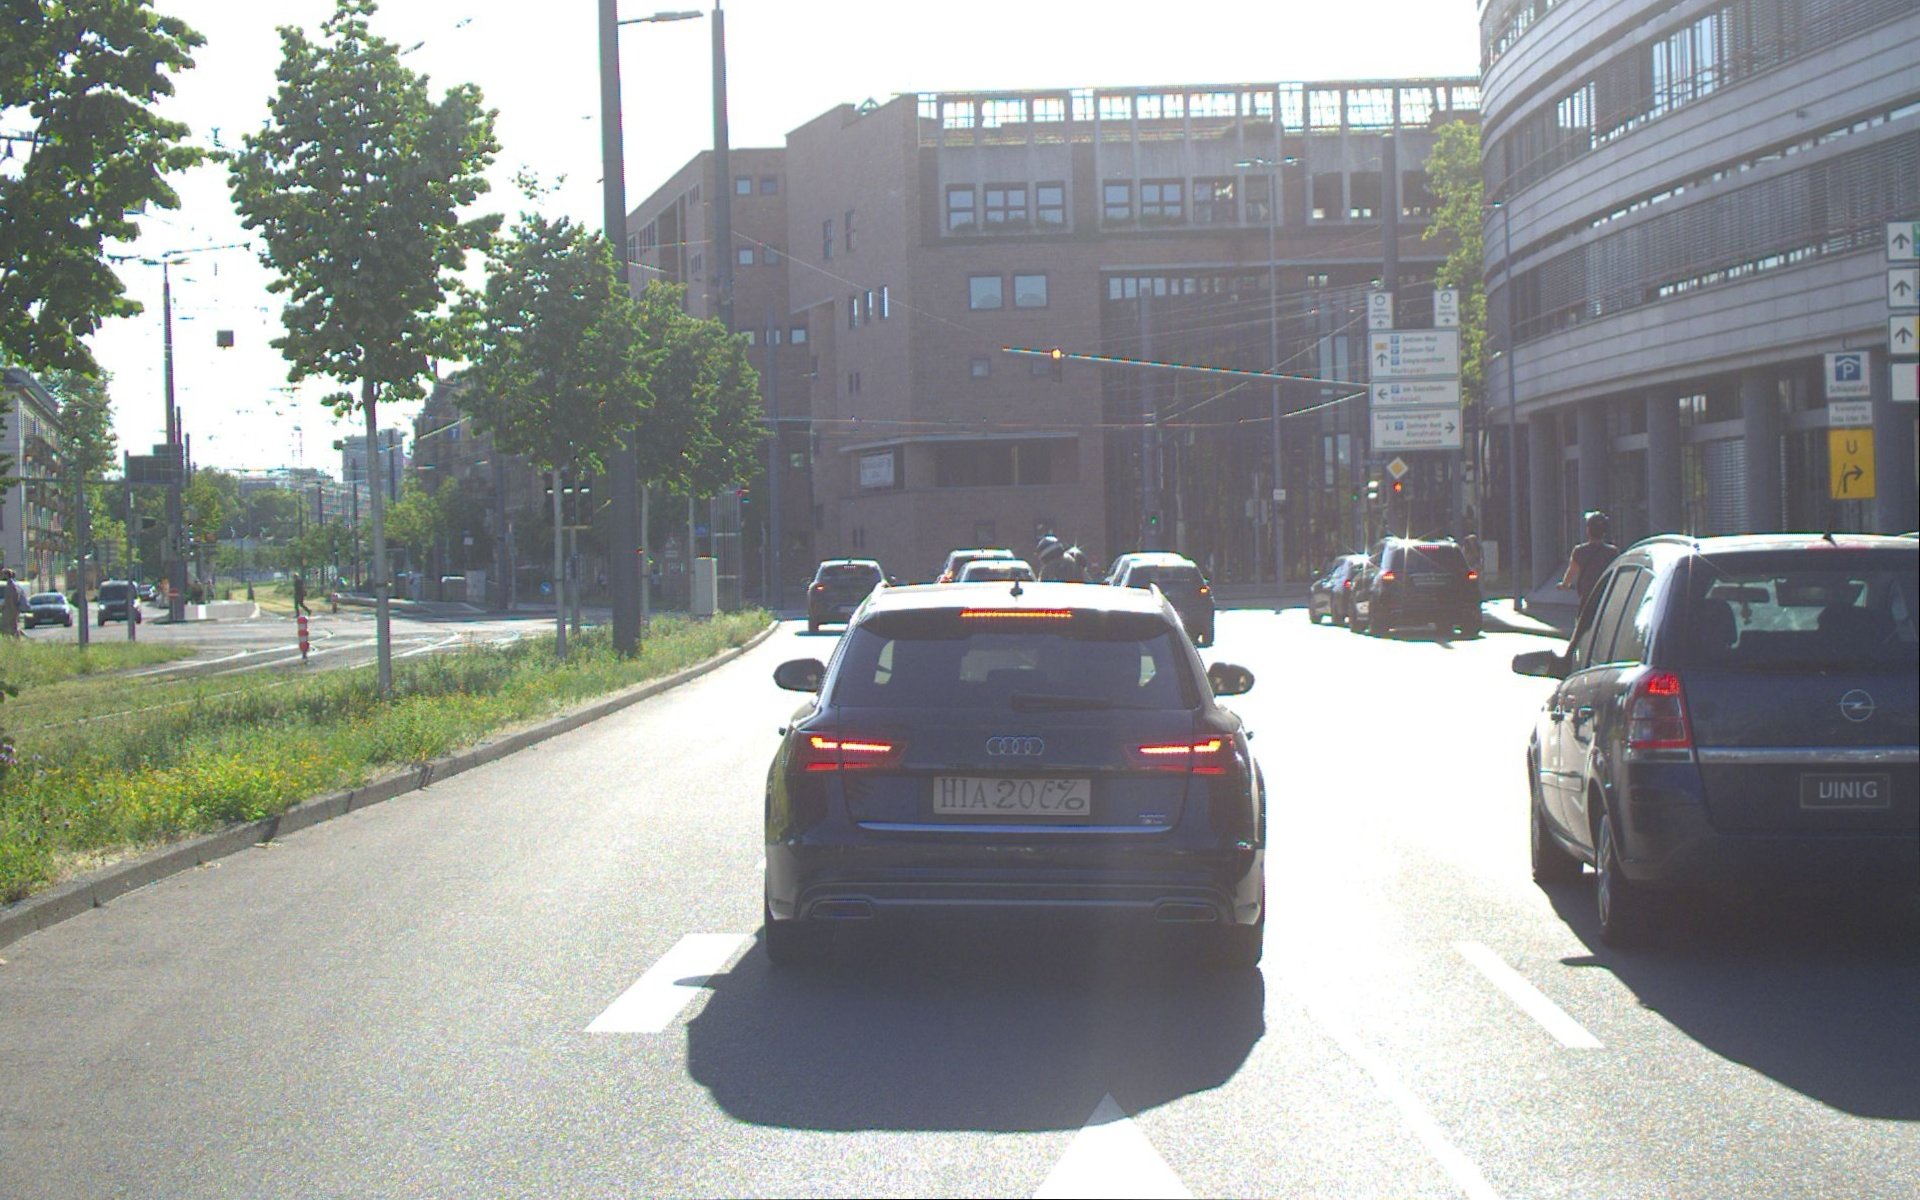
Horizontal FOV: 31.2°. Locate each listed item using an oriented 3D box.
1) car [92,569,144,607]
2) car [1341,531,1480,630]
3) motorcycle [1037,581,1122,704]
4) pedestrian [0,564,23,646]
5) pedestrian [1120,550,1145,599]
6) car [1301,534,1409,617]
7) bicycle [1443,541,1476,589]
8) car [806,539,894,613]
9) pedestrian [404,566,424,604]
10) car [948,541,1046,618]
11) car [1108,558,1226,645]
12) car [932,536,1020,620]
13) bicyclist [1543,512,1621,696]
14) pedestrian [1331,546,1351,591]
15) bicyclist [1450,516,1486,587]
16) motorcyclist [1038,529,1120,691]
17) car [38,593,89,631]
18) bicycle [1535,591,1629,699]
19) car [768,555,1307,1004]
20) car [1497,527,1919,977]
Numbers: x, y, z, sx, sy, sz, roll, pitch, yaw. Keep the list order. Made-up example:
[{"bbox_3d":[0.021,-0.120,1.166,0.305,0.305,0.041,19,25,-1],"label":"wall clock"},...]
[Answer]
[{"bbox_3d":[-34.604,-0.496,141.247,1.744,1.499,3.881,-2,1,-18],"label":"car"},{"bbox_3d":[8.411,-0.387,64.500,1.993,1.744,4.329,-1,1,0],"label":"car"},{"bbox_3d":[1.157,0.397,33.373,0.775,1.111,1.969,-1,1,2],"label":"motorcycle"},{"bbox_3d":[-21.362,0.113,76.925,0.631,1.824,0.663,-2,1,-7],"label":"pedestrian"},{"bbox_3d":[6.242,-0.921,124.461,0.707,1.753,0.560,-1,1,24],"label":"pedestrian"},{"bbox_3d":[8.247,-0.537,72.051,1.994,1.645,4.000,-1,1,3],"label":"car"},{"bbox_3d":[11.472,-0.810,78.944,0.504,1.054,1.701,-4,0,15],"label":"bicycle"},{"bbox_3d":[-2.214,-0.495,70.040,1.649,1.428,4.000,-1,1,0],"label":"car"},{"bbox_3d":[-23.903,-0.667,150.454,0.742,1.634,0.768,-2,1,-14],"label":"pedestrian"},{"bbox_3d":[0.662,-0.399,63.623,1.737,1.345,4.000,-1,1,0],"label":"car"},{"bbox_3d":[3.599,0.005,60.226,1.807,1.452,4.000,0,1,0],"label":"car"},{"bbox_3d":[0.320,-0.467,70.969,1.737,1.645,4.000,-1,1,0],"label":"car"},{"bbox_3d":[6.149,0.035,34.029,0.577,1.785,0.864,-1,1,0],"label":"bicyclist"},{"bbox_3d":[12.273,-1.020,110.820,0.529,1.425,0.598,-1,1,-1],"label":"pedestrian"},{"bbox_3d":[11.687,-1.117,79.095,0.684,1.612,0.990,-1,1,15],"label":"bicyclist"},{"bbox_3d":[1.155,0.091,33.233,0.745,1.525,1.021,-1,1,3],"label":"motorcyclist"},{"bbox_3d":[-37.082,0.483,142.145,1.744,1.499,3.881,-2,1,-18],"label":"car"},{"bbox_3d":[6.166,0.428,34.161,0.491,0.994,2.328,-1,1,0],"label":"bicycle"},{"bbox_3d":[0.200,0.583,13.941,1.811,1.487,4.496,1,1,-2],"label":"car"},{"bbox_3d":[3.373,0.517,14.762,1.688,1.623,4.462,-1,1,4],"label":"car"}]
